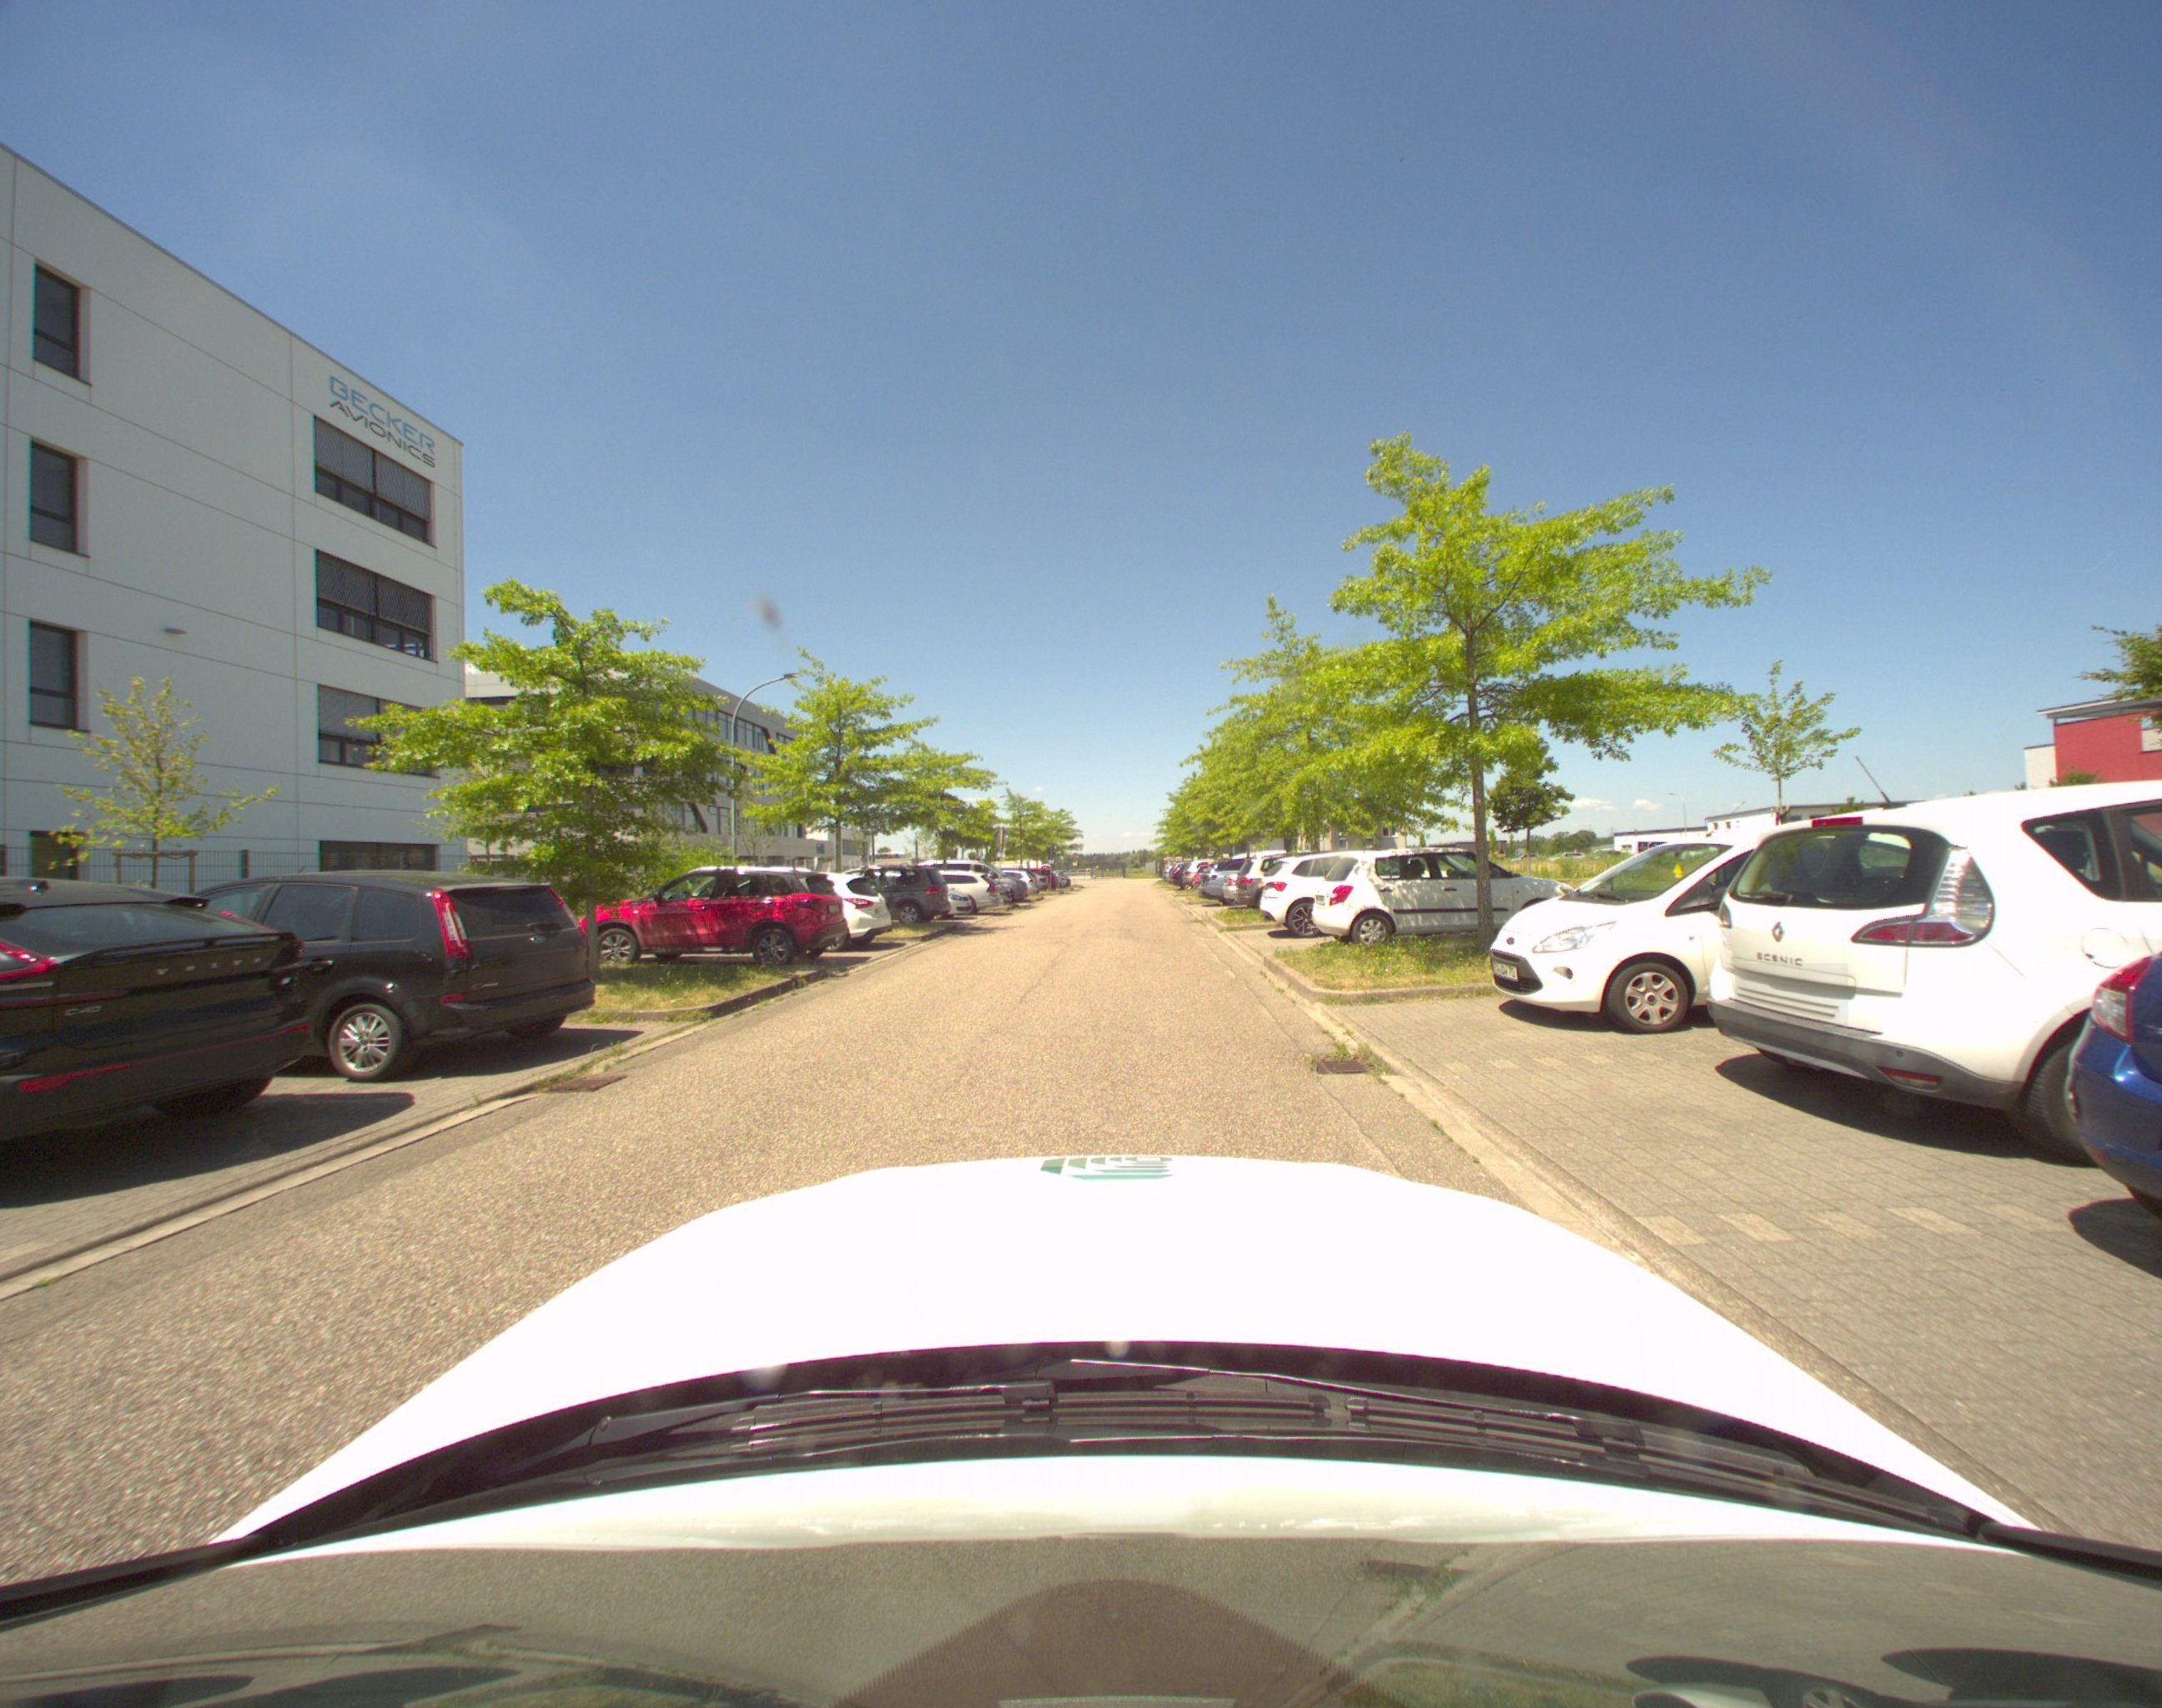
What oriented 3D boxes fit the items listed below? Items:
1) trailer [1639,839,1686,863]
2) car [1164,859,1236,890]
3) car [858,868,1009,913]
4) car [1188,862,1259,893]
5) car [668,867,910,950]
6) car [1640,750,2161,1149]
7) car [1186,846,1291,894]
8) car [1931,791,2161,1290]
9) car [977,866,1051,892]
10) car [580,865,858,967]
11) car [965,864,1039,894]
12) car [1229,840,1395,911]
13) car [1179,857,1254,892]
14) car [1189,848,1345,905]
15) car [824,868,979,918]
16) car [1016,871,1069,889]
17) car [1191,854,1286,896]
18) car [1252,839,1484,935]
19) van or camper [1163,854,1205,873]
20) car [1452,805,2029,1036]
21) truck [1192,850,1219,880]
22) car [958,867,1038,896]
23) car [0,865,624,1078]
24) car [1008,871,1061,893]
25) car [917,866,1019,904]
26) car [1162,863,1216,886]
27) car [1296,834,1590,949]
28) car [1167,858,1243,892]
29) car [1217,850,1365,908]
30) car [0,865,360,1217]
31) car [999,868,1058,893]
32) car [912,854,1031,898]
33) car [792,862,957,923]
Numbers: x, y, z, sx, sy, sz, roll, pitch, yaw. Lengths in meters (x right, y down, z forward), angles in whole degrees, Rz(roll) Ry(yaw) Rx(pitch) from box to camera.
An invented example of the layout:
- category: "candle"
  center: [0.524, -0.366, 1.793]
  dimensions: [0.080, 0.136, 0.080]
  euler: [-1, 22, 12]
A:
- category: "trailer"
  center: [68.812, -0.359, 96.407]
  dimensions: [3.972, 2.600, 2.233]
  euler: [-2, -1, 1]
- category: "car"
  center: [7.876, 1.336, 54.138]
  dimensions: [4.433, 1.768, 1.993]
  euler: [-3, -1, 1]
- category: "car"
  center: [-4.867, 1.204, 27.338]
  dimensions: [4.698, 1.447, 1.857]
  euler: [0, -1, 0]
- category: "car"
  center: [7.479, 1.215, 42.894]
  dimensions: [3.443, 1.417, 1.756]
  euler: [-3, -1, 2]
- category: "car"
  center: [-5.756, 1.042, 16.350]
  dimensions: [4.153, 1.513, 1.809]
  euler: [0, 0, 4]
- category: "car"
  center: [5.635, 0.316, 4.208]
  dimensions: [4.087, 1.650, 1.778]
  euler: [-5, -1, 8]
- category: "car"
  center: [6.986, 0.726, 36.495]
  dimensions: [4.383, 1.830, 1.797]
  euler: [-4, -2, 4]
- category: "car"
  center: [5.132, 0.412, 1.988]
  dimensions: [3.975, 1.490, 1.731]
  euler: [-5, -1, 7]
- category: "car"
  center: [-3.925, 1.447, 48.114]
  dimensions: [4.175, 1.480, 1.714]
  euler: [0, -1, 3]
- category: "car"
  center: [-5.879, 0.980, 13.572]
  dimensions: [3.825, 1.592, 1.727]
  euler: [0, -1, 1]
- category: "car"
  center: [-4.406, 1.395, 45.657]
  dimensions: [3.976, 1.679, 1.776]
  euler: [0, -1, -2]
- category: "car"
  center: [6.191, 0.588, 22.170]
  dimensions: [4.029, 1.625, 1.695]
  euler: [-4, -1, 3]
- category: "car"
  center: [7.436, 1.112, 45.127]
  dimensions: [3.859, 1.678, 1.783]
  euler: [-3, -2, 3]
- category: "car"
  center: [6.152, 0.739, 27.307]
  dimensions: [4.702, 1.561, 1.913]
  euler: [-3, -1, -1]
- category: "car"
  center: [-5.399, 1.159, 24.833]
  dimensions: [4.296, 1.473, 1.727]
  euler: [0, -1, 1]
- category: "car"
  center: [-3.022, 2.017, 63.942]
  dimensions: [4.063, 1.424, 1.873]
  euler: [0, -1, -1]
- category: "car"
  center: [6.500, 0.882, 33.912]
  dimensions: [3.615, 1.503, 1.678]
  euler: [-4, -2, 4]
- category: "car"
  center: [5.244, 0.601, 15.350]
  dimensions: [3.812, 1.553, 1.784]
  euler: [-3, -1, 8]
- category: "van or camper"
  center: [12.872, 1.134, 101.905]
  dimensions: [4.917, 2.163, 2.001]
  euler: [-2, 0, 2]
- category: "car"
  center: [5.386, 0.505, 6.984]
  dimensions: [3.608, 1.463, 1.610]
  euler: [-4, -1, -2]
- category: "truck"
  center: [17.268, 1.558, 113.144]
  dimensions: [2.910, 3.929, 6.939]
  euler: [-2, -1, 2]
- category: "car"
  center: [-4.350, 1.443, 42.936]
  dimensions: [4.024, 1.461, 1.604]
  euler: [0, -1, 0]
- category: "car"
  center: [-6.396, 0.891, 7.034]
  dimensions: [3.891, 1.592, 1.728]
  euler: [0, -1, 2]
- category: "car"
  center: [-3.218, 1.927, 56.943]
  dimensions: [3.645, 1.509, 1.730]
  euler: [0, -1, -1]
- category: "car"
  center: [-4.679, 1.277, 34.146]
  dimensions: [3.952, 1.484, 1.765]
  euler: [0, -1, 3]
- category: "car"
  center: [9.039, 1.731, 68.470]
  dimensions: [4.261, 1.644, 1.852]
  euler: [-3, -2, 3]
- category: "car"
  center: [5.545, 0.573, 12.871]
  dimensions: [3.818, 1.524, 1.781]
  euler: [-3, -1, 3]
- category: "car"
  center: [7.245, 1.216, 47.847]
  dimensions: [4.157, 1.696, 1.783]
  euler: [-3, -2, 2]
- category: "car"
  center: [6.264, 0.739, 24.647]
  dimensions: [4.029, 1.453, 1.647]
  euler: [-4, -1, 3]
- category: "car"
  center: [-6.805, 0.861, 4.563]
  dimensions: [3.826, 1.593, 1.829]
  euler: [0, -1, -1]
- category: "car"
  center: [-3.467, 1.740, 54.338]
  dimensions: [3.721, 1.621, 1.818]
  euler: [0, -1, 3]
- category: "car"
  center: [-4.918, 0.990, 37.004]
  dimensions: [5.046, 1.892, 1.999]
  euler: [0, -1, 4]
- category: "car"
  center: [-5.667, 1.049, 22.707]
  dimensions: [4.101, 1.634, 1.728]
  euler: [0, -1, 2]
